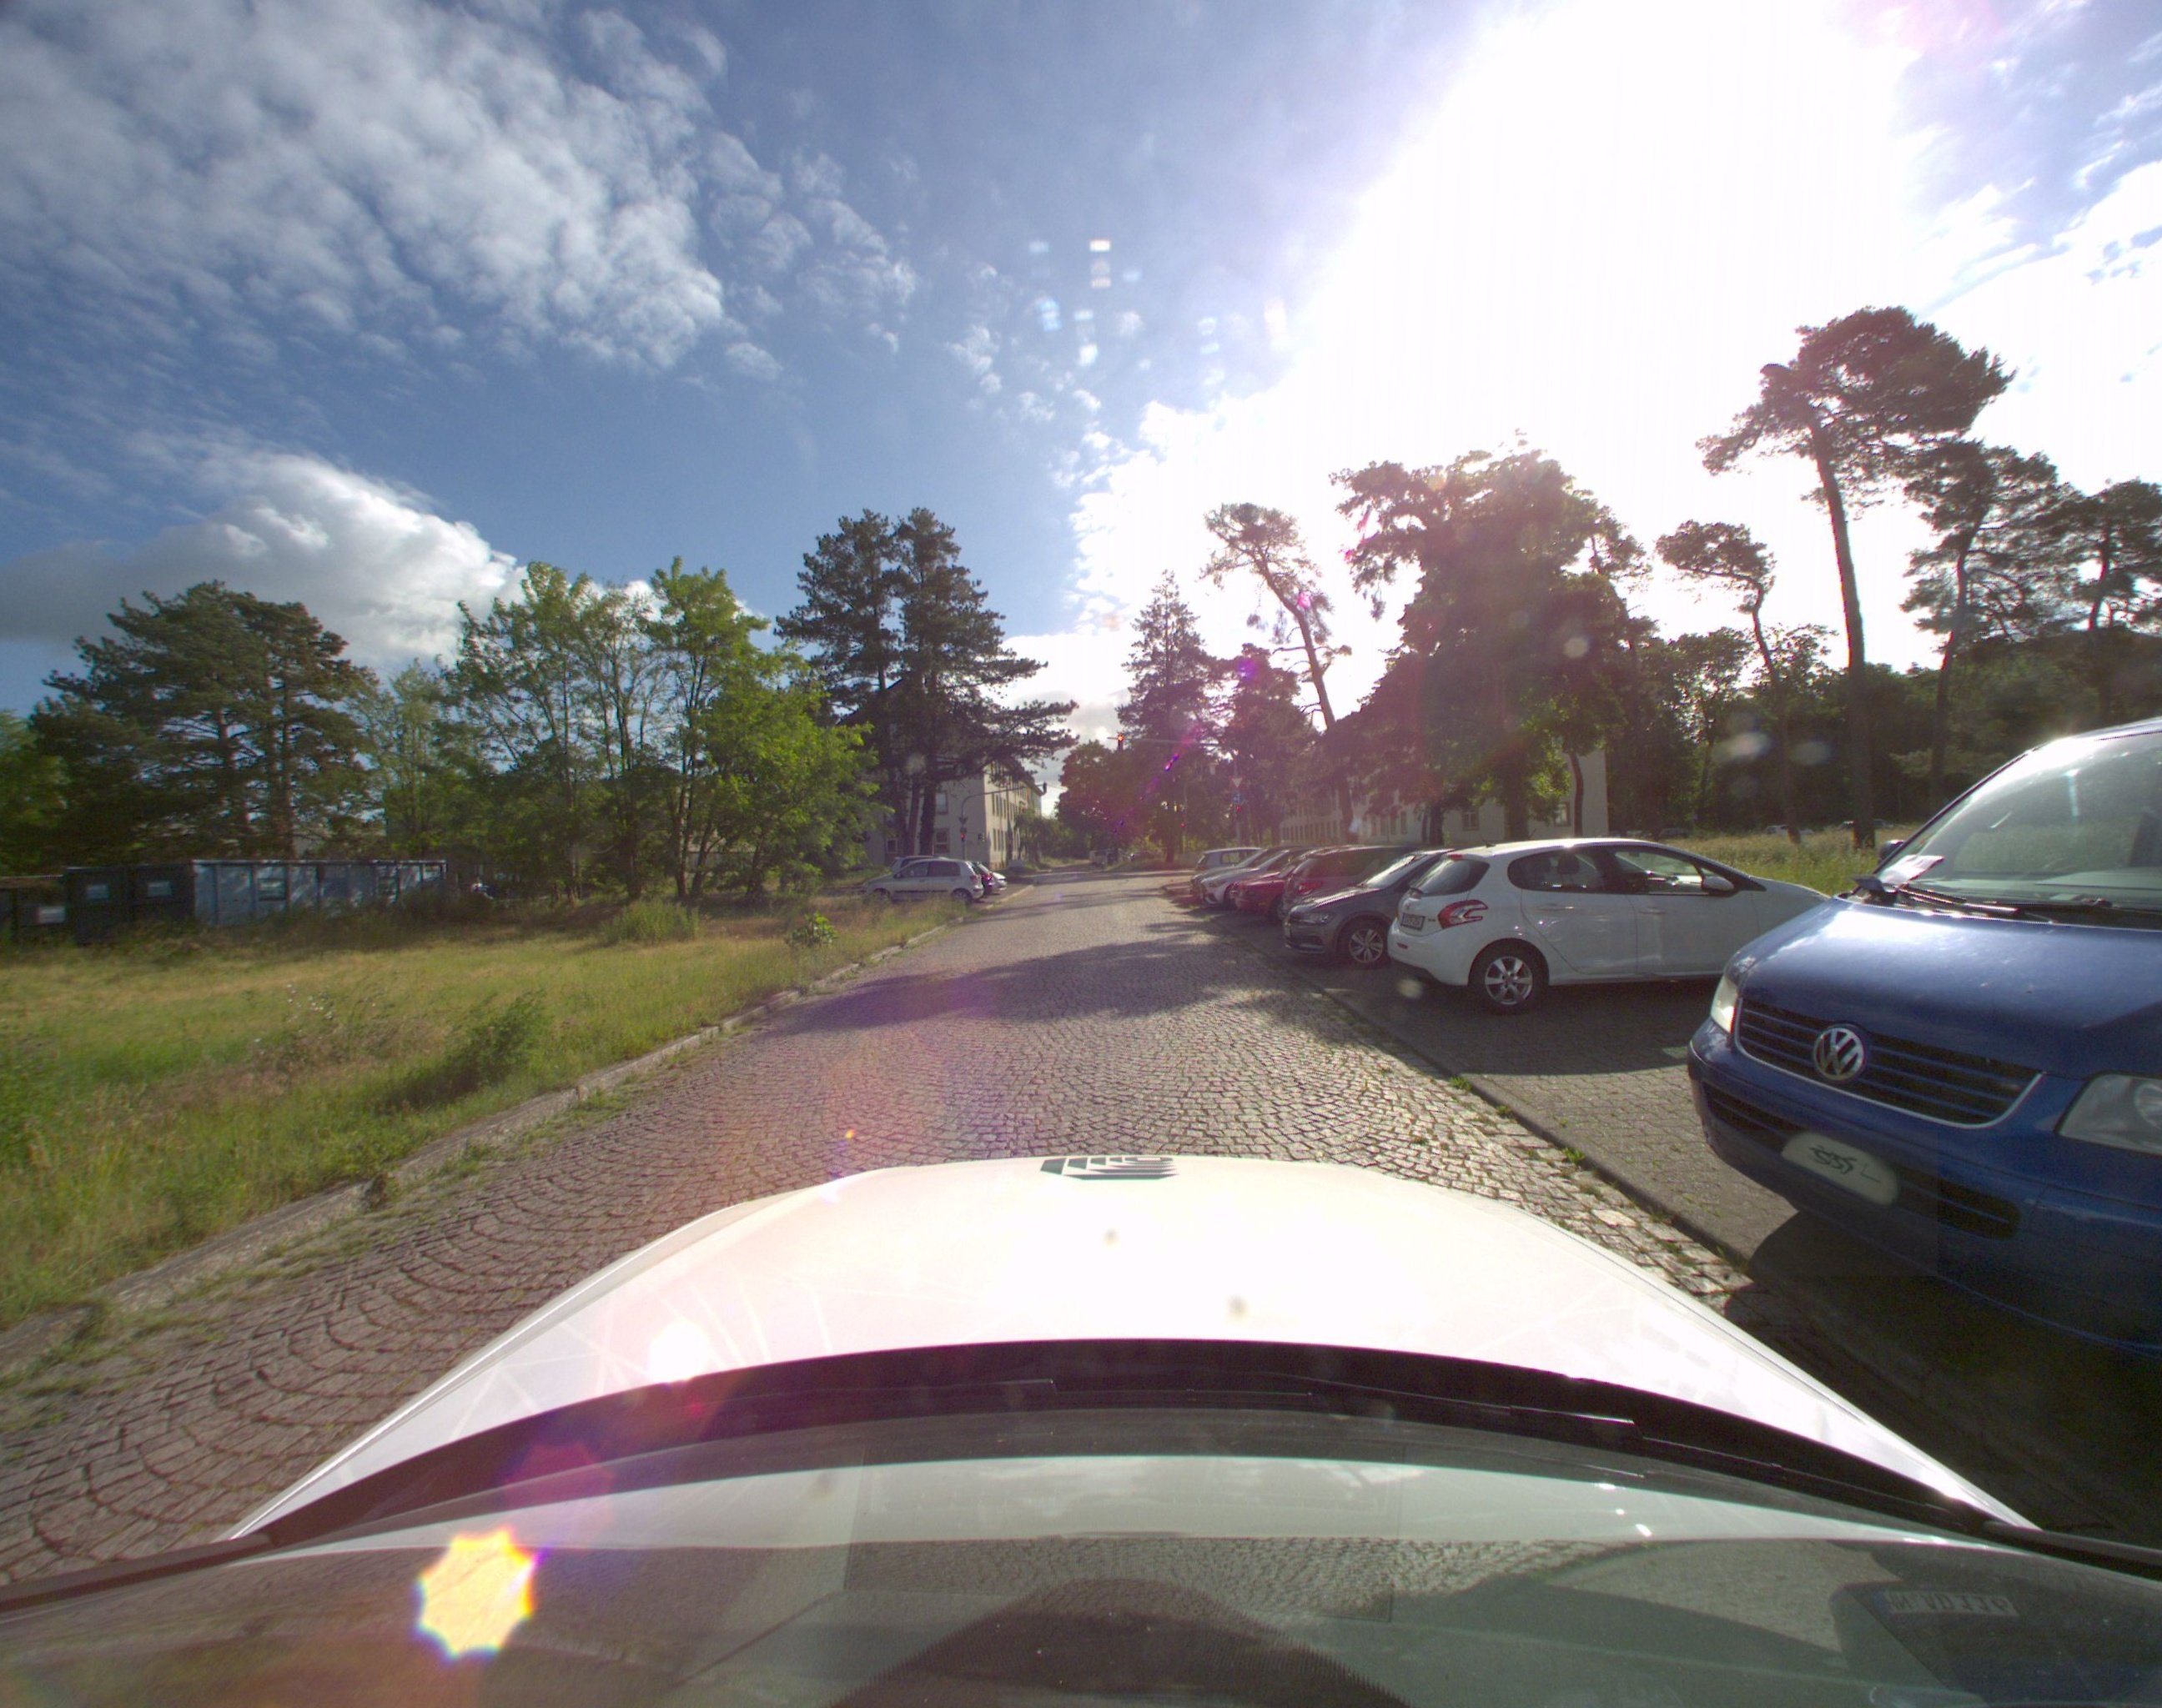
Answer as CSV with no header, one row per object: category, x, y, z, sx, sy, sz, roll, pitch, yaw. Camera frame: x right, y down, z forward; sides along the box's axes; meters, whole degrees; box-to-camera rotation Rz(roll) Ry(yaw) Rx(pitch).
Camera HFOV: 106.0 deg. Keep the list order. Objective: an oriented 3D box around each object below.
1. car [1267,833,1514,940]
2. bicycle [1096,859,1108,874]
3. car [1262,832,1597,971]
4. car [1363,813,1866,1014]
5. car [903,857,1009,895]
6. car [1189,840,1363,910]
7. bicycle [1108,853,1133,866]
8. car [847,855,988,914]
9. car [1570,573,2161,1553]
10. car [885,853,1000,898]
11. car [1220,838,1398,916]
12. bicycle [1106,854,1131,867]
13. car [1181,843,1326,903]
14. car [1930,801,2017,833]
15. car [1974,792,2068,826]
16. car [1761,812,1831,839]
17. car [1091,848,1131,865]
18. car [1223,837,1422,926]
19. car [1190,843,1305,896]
car,5.068,0.514,13.657,3.467,1.529,1.645,-3,0,0
bicycle,1.867,1.089,71.901,0.803,1.169,2.177,-4,0,-4
car,4.431,0.577,10.746,3.663,1.467,1.645,-4,0,0
car,4.872,0.513,7.851,3.680,1.465,1.646,-4,0,2
car,-5.073,0.882,33.471,3.973,1.453,2.000,0,0,0
car,4.924,0.508,20.893,4.024,1.529,1.644,-3,0,-3
bicycle,3.728,0.488,76.475,2.172,1.100,0.804,-2,0,-9
car,-5.056,0.934,25.677,3.976,1.600,1.999,-3,0,-2
car,4.540,0.335,2.603,4.661,2.013,2.083,-3,0,0
car,-5.207,0.790,31.071,3.973,1.601,2.000,1,0,0
car,5.157,0.501,18.707,3.591,1.529,1.645,-3,0,0
bicycle,3.433,0.624,75.341,2.172,1.100,0.804,-2,0,-9
car,4.943,0.526,23.666,3.823,1.529,1.645,-3,0,0
car,63.623,-2.642,58.094,3.973,2.013,2.001,-3,0,1
car,63.421,-2.984,54.975,3.973,2.013,2.001,-3,0,1
car,59.537,-2.385,67.872,3.973,2.013,2.001,-3,0,1
car,3.356,0.261,92.822,4.465,1.728,2.000,-2,0,0
car,4.755,0.522,16.354,3.467,1.529,1.645,-3,0,0
car,5.310,0.483,26.302,3.333,1.482,1.645,-3,0,0
